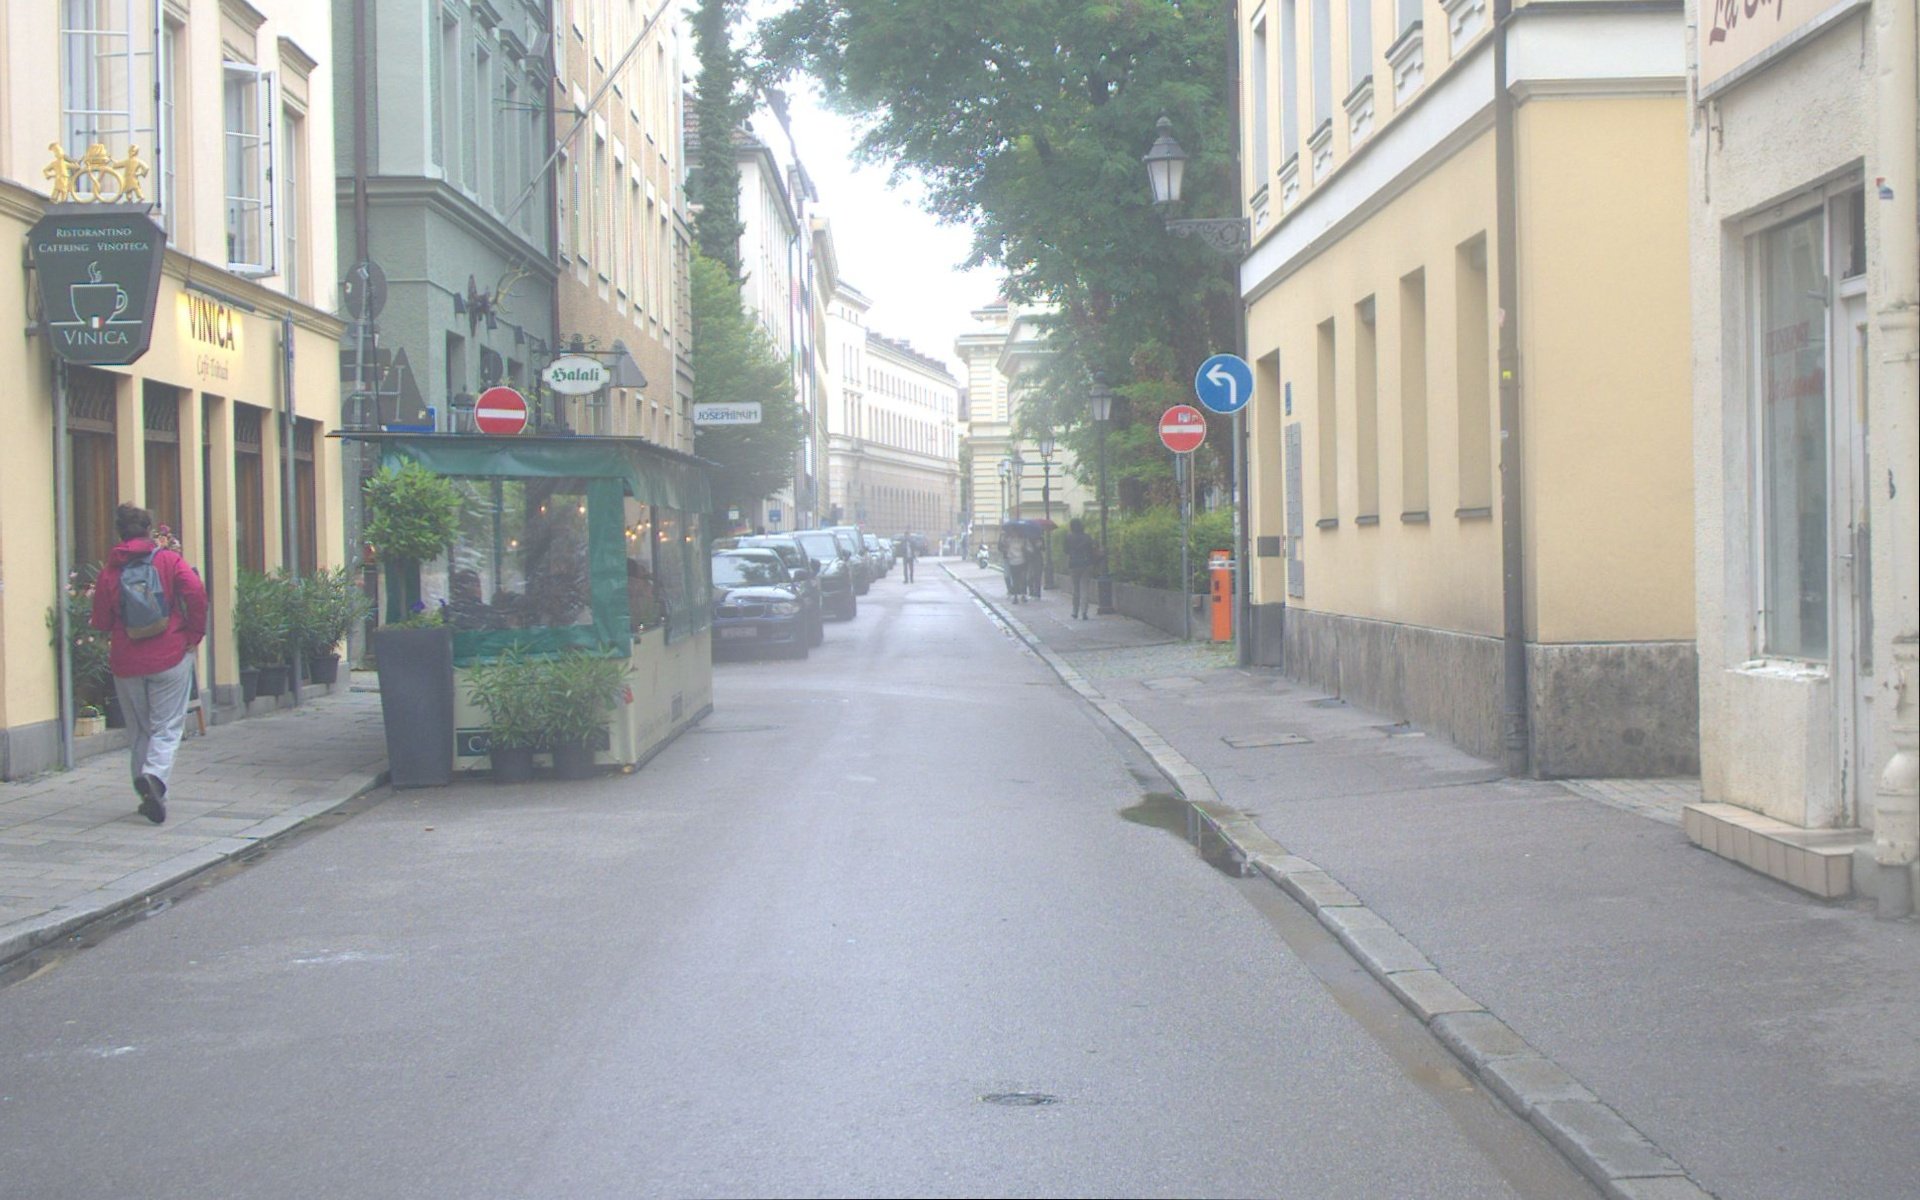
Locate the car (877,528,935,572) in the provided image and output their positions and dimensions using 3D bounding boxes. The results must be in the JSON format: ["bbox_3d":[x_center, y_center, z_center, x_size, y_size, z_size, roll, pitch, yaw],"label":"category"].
[{"bbox_3d":[-1.814,-1.707,116.004,1.779,1.461,3.542,0,1,2],"label":"car"}]

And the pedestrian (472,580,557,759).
[{"bbox_3d":[-3.010,0.464,23.253,0.509,1.183,0.631,0,1,-2],"label":"pedestrian"}]

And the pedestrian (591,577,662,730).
[{"bbox_3d":[-2.586,0.408,26.721,0.509,1.171,0.631,0,1,-2],"label":"pedestrian"}]

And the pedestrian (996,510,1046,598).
[{"bbox_3d":[1.268,-0.964,71.312,1.015,1.796,1.349,0,1,0],"label":"pedestrian"}]

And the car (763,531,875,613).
[{"bbox_3d":[-2.572,-0.539,63.388,1.779,1.461,3.542,0,1,2],"label":"car"}]

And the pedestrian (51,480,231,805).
[{"bbox_3d":[-4.411,0.215,18.567,0.765,1.702,0.785,-1,1,-3],"label":"pedestrian"}]

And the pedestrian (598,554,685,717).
[{"bbox_3d":[-2.629,0.283,28.407,0.673,1.322,0.696,0,1,-2],"label":"pedestrian"}]

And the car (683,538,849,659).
[{"bbox_3d":[-2.434,-0.052,43.908,1.779,1.461,3.663,0,1,2],"label":"car"}]

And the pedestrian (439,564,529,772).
[{"bbox_3d":[-3.075,0.432,22.250,0.509,1.322,0.631,0,1,-2],"label":"pedestrian"}]

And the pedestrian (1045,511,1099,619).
[{"bbox_3d":[1.864,-0.589,57.282,0.880,1.796,1.046,0,1,0],"label":"pedestrian"}]

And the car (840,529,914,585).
[{"bbox_3d":[-2.242,-1.176,93.113,1.779,1.461,3.542,0,1,2],"label":"car"}]

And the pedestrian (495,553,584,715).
[{"bbox_3d":[-3.495,0.276,28.610,0.673,1.322,0.696,0,1,-2],"label":"pedestrian"}]

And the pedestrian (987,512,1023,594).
[{"bbox_3d":[0.996,-1.047,76.365,0.793,1.796,0.903,0,1,0],"label":"pedestrian"}]

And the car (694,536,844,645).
[{"bbox_3d":[-2.659,-0.159,48.434,1.779,1.461,3.542,0,1,2],"label":"car"}]

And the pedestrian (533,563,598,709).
[{"bbox_3d":[-3.391,0.302,29.563,0.509,1.233,0.631,0,1,-2],"label":"pedestrian"}]
